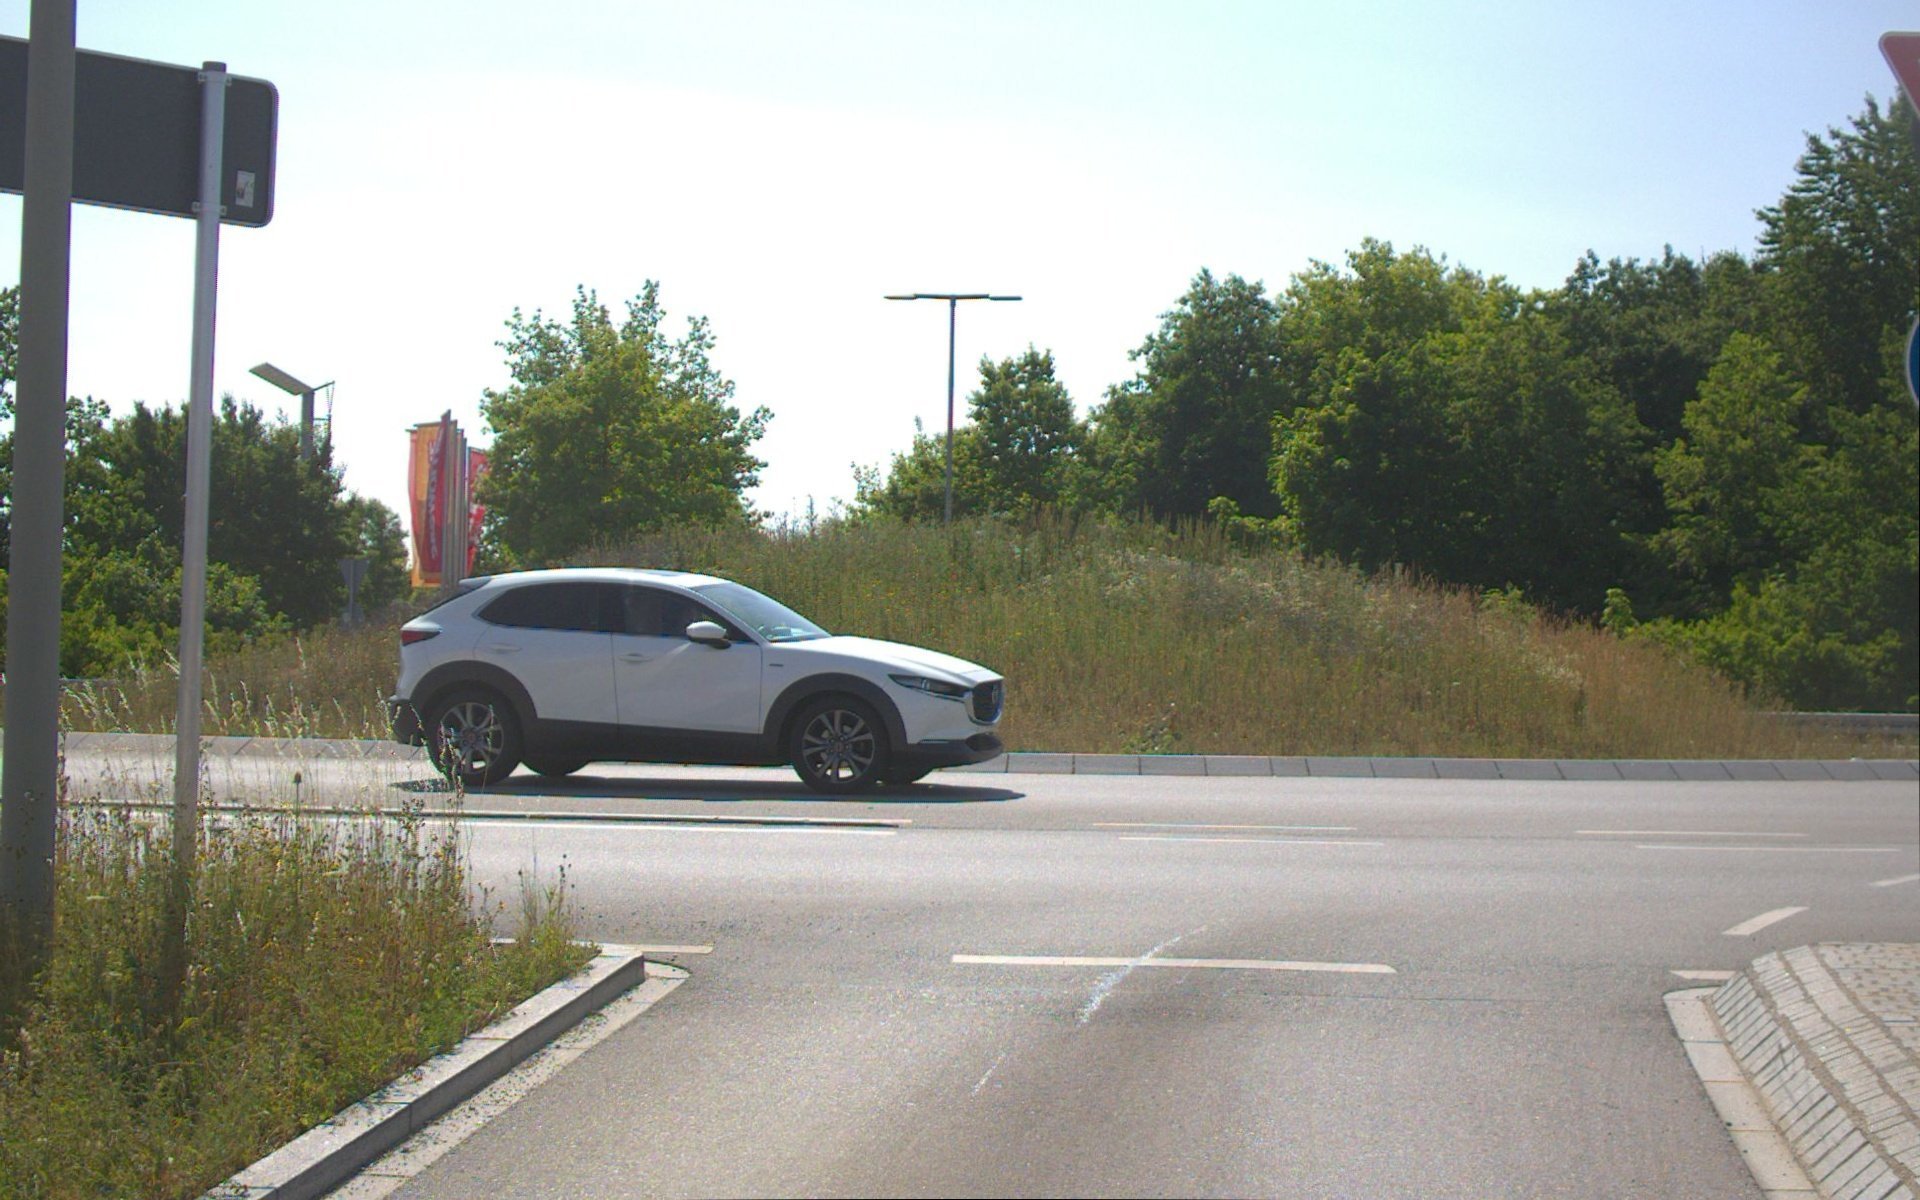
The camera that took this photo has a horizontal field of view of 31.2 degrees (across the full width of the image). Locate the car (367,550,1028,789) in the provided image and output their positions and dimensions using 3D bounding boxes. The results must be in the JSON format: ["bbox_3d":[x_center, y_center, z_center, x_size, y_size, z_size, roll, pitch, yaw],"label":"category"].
[{"bbox_3d":[-1.831,0.462,24.312,4.277,1.525,1.790,1,0,16],"label":"car"}]
